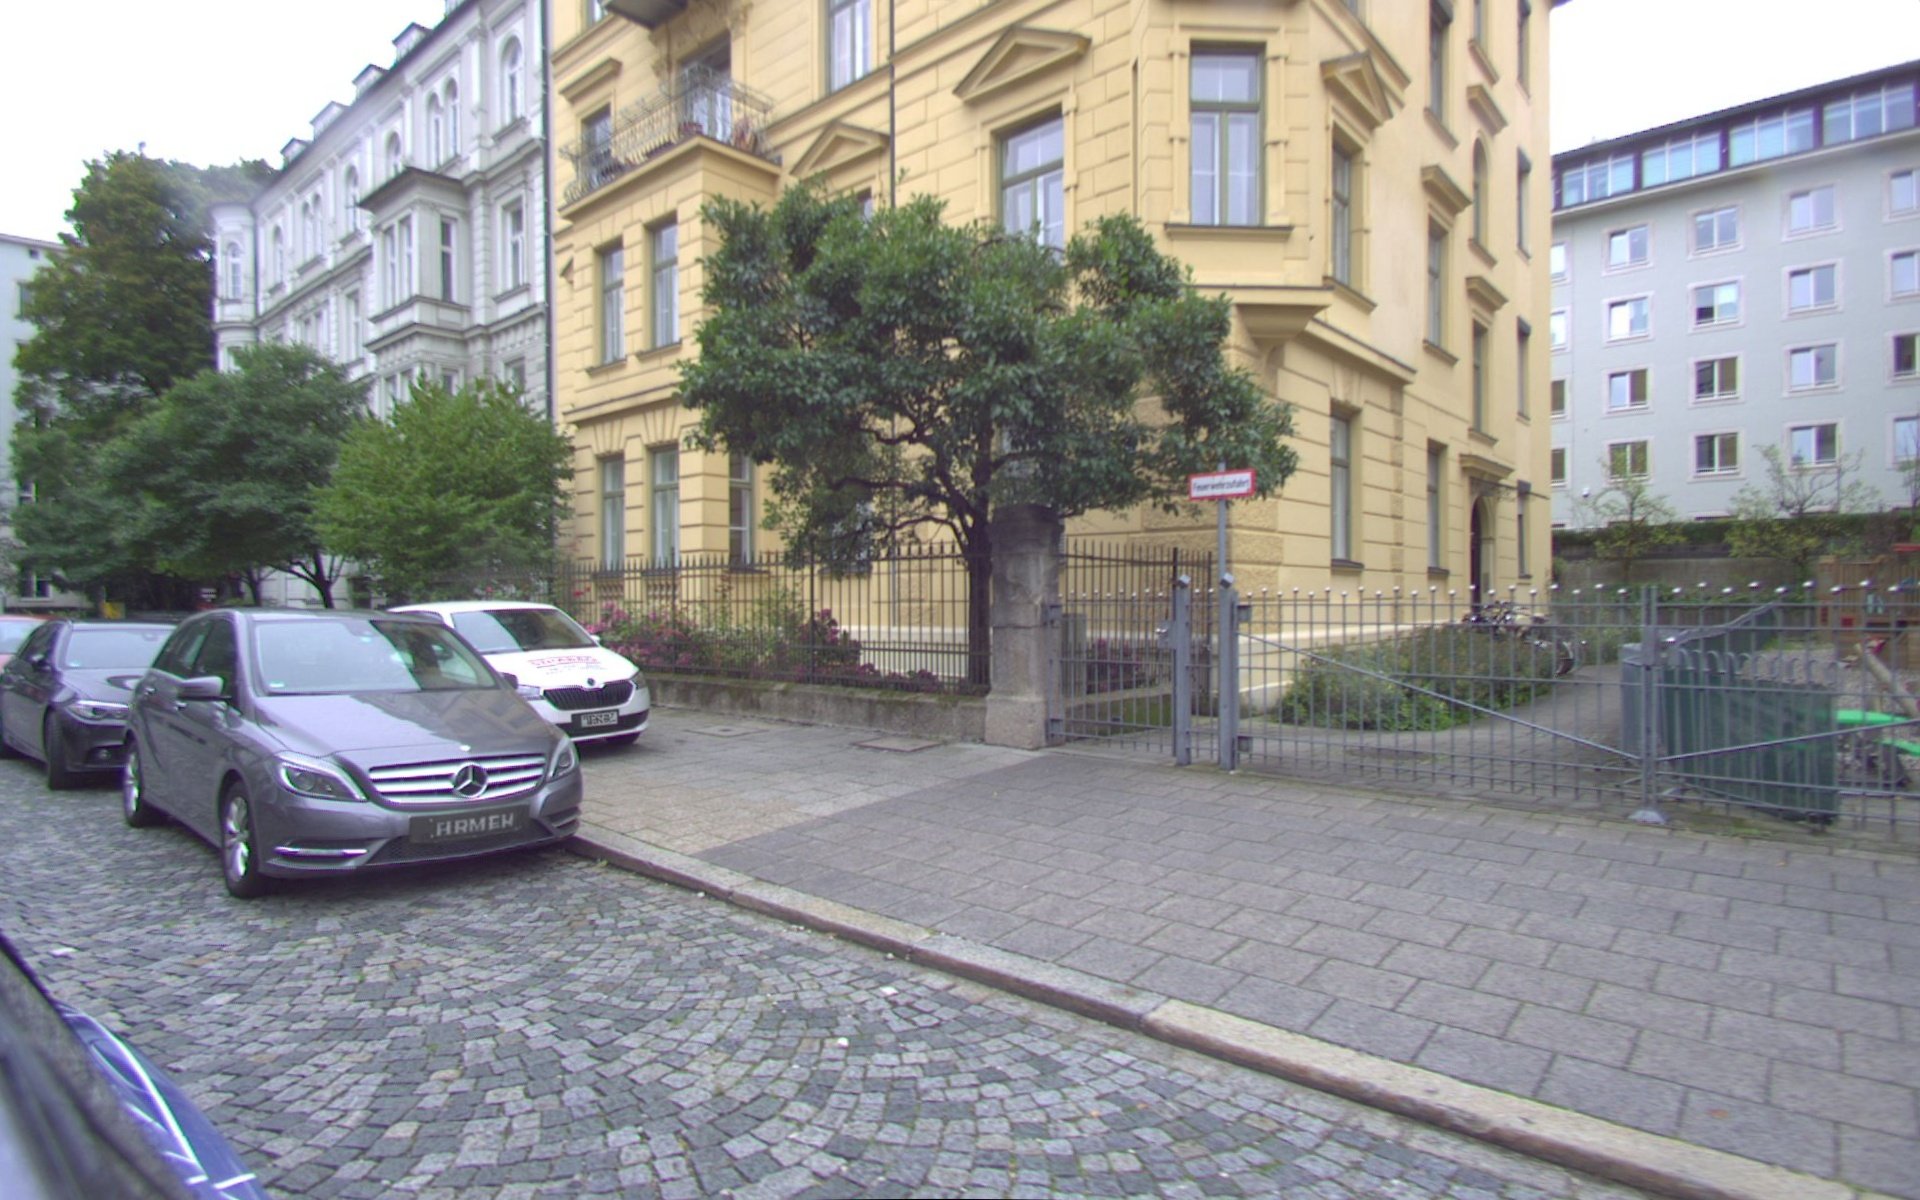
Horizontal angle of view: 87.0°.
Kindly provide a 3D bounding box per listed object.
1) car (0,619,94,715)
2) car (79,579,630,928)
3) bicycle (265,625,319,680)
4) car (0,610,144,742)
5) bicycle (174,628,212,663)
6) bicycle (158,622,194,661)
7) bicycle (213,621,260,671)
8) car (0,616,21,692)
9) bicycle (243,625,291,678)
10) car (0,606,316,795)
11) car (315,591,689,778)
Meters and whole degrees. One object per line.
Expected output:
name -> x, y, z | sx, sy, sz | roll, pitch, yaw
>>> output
car -> -16.980, 1.101, 17.878 | 4.639, 1.521, 1.799 | 0, -3, 40
car -> -4.137, 0.738, 6.638 | 4.187, 1.598, 1.723 | -1, -2, 38
bicycle -> -14.224, 1.094, 21.545 | 1.759, 1.059, 0.468 | 0, 3, 42
car -> -12.989, 0.954, 14.024 | 4.189, 1.598, 1.822 | -1, -2, 40
bicycle -> -21.222, 1.257, 27.989 | 1.789, 0.879, 0.434 | 0, 3, 42
bicycle -> -22.581, 1.183, 29.148 | 1.694, 1.059, 0.458 | 0, 3, 42
bicycle -> -17.810, 1.113, 24.911 | 1.789, 1.132, 0.504 | 0, 3, 42
car -> -21.000, 1.084, 21.088 | 4.510, 1.510, 1.790 | -1, -2, 43
bicycle -> -15.760, 1.142, 22.993 | 1.789, 1.107, 0.429 | 0, 3, 42
car -> -8.542, 0.830, 10.330 | 5.129, 1.481, 1.851 | -1, -2, 40
car -> -4.823, 0.703, 10.343 | 4.387, 1.477, 1.822 | -1, 1, 41
